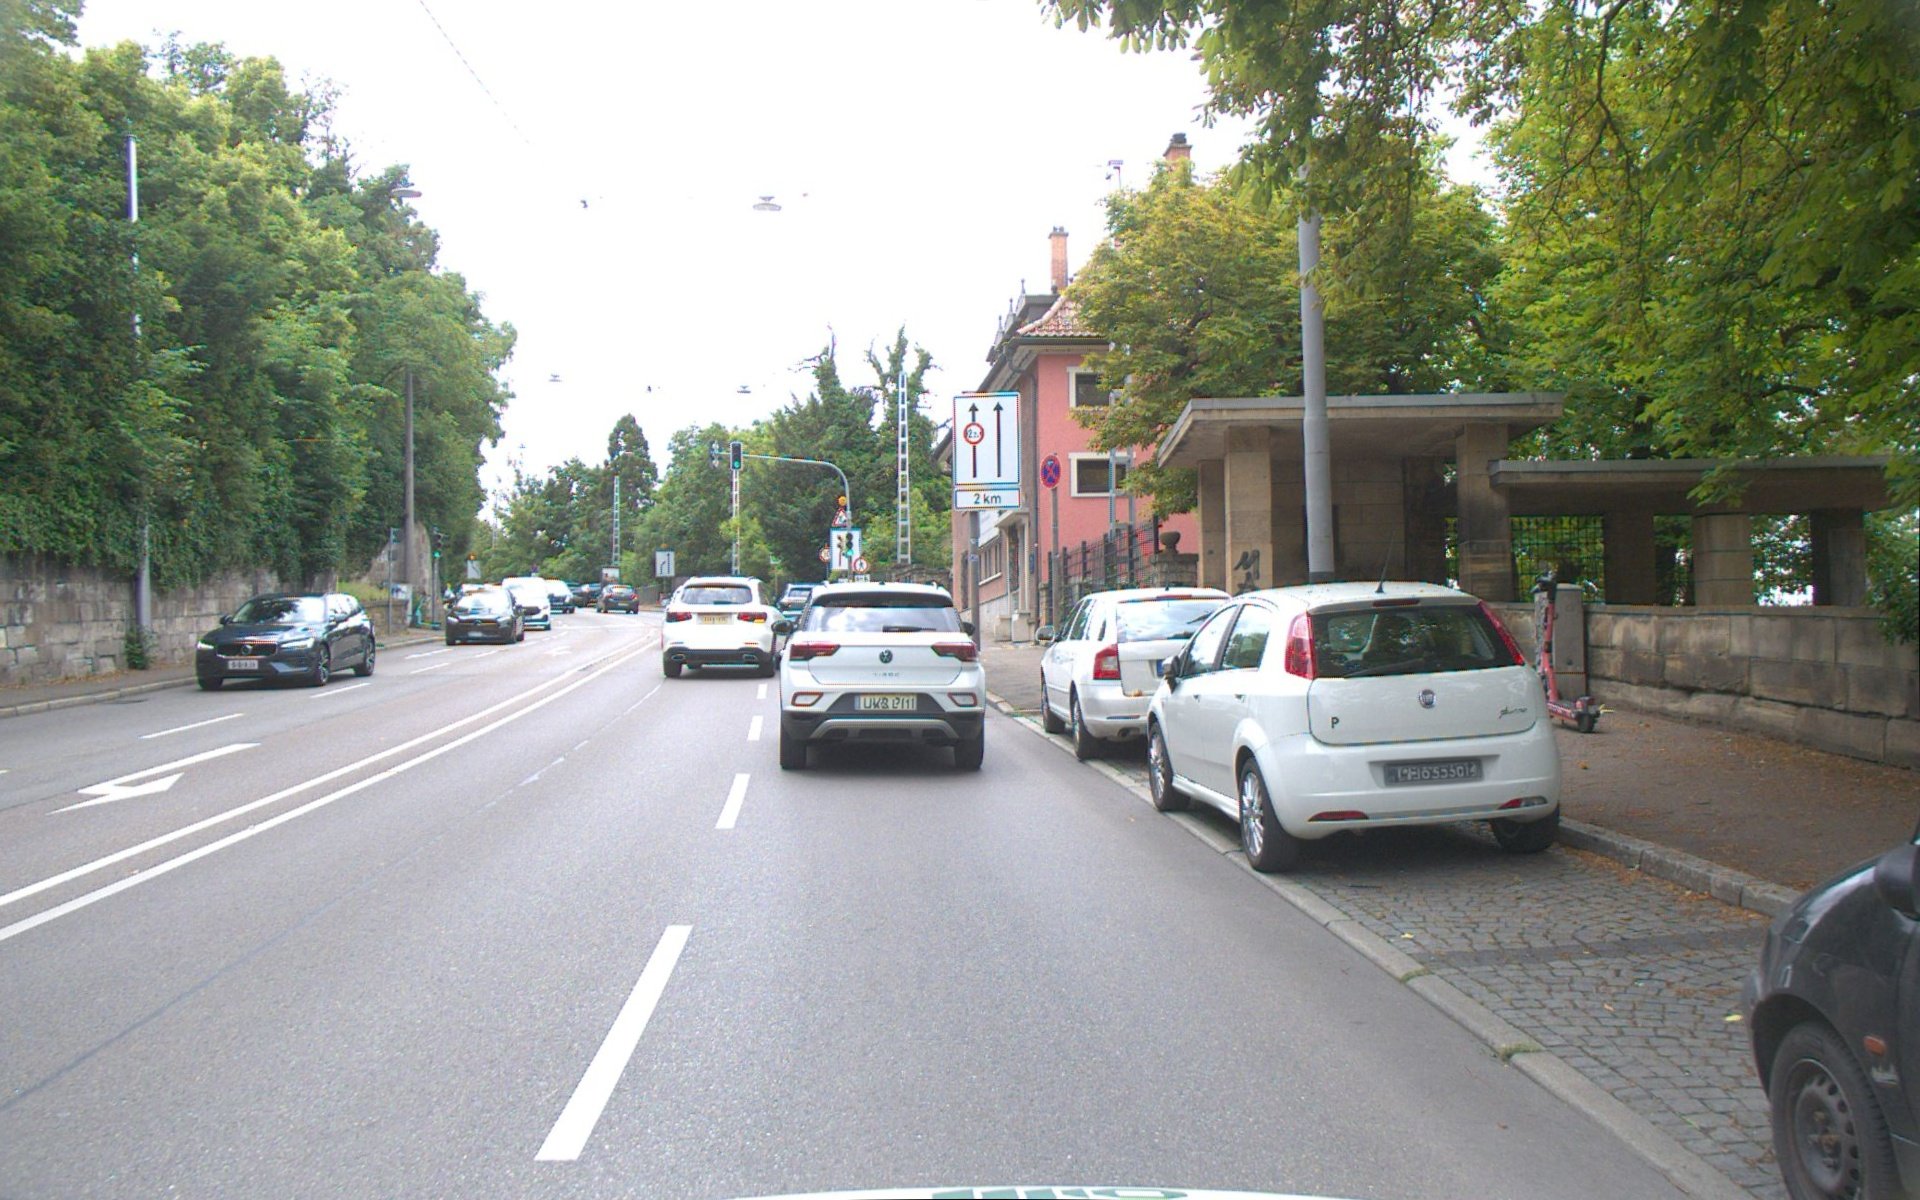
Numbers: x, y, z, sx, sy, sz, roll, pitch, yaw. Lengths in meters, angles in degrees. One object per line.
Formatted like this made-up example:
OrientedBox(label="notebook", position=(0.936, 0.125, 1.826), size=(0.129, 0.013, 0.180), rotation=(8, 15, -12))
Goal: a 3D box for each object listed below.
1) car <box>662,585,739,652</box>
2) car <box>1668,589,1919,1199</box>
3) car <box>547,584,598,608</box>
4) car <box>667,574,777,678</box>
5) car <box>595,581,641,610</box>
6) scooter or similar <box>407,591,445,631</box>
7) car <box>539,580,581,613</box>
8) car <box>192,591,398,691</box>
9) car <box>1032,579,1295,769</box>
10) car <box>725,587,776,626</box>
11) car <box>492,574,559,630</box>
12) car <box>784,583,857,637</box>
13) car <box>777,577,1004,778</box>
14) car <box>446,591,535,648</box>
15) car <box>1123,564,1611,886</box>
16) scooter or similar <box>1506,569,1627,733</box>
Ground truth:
OrientedBox(label="car", position=(-6.238, 0.431, 39.740), size=(1.725, 1.497, 3.787), rotation=(1, -1, -9))
OrientedBox(label="car", position=(2.775, 0.686, 2.736), size=(1.530, 1.447, 3.422), rotation=(-3, 0, -3))
OrientedBox(label="car", position=(-26.209, -0.261, 111.694), size=(1.977, 1.603, 4.098), rotation=(0, -1, -35))
OrientedBox(label="car", position=(-4.053, 0.441, 28.529), size=(1.724, 1.638, 3.789), rotation=(1, -1, -7))
OrientedBox(label="car", position=(-17.769, -0.210, 85.851), size=(1.755, 1.480, 3.975), rotation=(1, 0, -20))
OrientedBox(label="scooter or similar", position=(-18.038, 0.369, 55.885), size=(0.425, 1.259, 1.094), rotation=(3, -2, 34))
OrientedBox(label="car", position=(-20.399, -0.197, 84.383), size=(1.815, 1.661, 4.351), rotation=(0, 1, -10))
OrientedBox(label="car", position=(-10.640, 0.602, 26.816), size=(1.807, 1.434, 4.451), rotation=(-2, 0, -5))
OrientedBox(label="car", position=(1.767, 0.591, 15.733), size=(1.642, 1.486, 4.362), rotation=(-2, 0, -4))
OrientedBox(label="car", position=(-8.373, 0.268, 66.090), size=(1.956, 1.475, 4.144), rotation=(0, 0, -7))
OrientedBox(label="car", position=(-15.192, 0.096, 58.067), size=(1.858, 1.880, 4.386), rotation=(0, -1, -9))
OrientedBox(label="car", position=(-3.961, 0.281, 47.268), size=(1.954, 1.439, 4.147), rotation=(-1, 0, -4))
OrientedBox(label="car", position=(-0.759, 0.641, 15.149), size=(1.724, 1.583, 3.789), rotation=(1, -1, -8))
OrientedBox(label="car", position=(-12.583, 0.498, 44.519), size=(1.532, 1.426, 4.248), rotation=(-2, 0, -6))
OrientedBox(label="car", position=(2.263, 0.599, 10.349), size=(1.682, 1.497, 4.034), rotation=(-4, 1, -5))
OrientedBox(label="scooter or similar", position=(5.027, 0.402, 13.761), size=(0.506, 1.282, 1.168), rotation=(-3, 0, -1))
